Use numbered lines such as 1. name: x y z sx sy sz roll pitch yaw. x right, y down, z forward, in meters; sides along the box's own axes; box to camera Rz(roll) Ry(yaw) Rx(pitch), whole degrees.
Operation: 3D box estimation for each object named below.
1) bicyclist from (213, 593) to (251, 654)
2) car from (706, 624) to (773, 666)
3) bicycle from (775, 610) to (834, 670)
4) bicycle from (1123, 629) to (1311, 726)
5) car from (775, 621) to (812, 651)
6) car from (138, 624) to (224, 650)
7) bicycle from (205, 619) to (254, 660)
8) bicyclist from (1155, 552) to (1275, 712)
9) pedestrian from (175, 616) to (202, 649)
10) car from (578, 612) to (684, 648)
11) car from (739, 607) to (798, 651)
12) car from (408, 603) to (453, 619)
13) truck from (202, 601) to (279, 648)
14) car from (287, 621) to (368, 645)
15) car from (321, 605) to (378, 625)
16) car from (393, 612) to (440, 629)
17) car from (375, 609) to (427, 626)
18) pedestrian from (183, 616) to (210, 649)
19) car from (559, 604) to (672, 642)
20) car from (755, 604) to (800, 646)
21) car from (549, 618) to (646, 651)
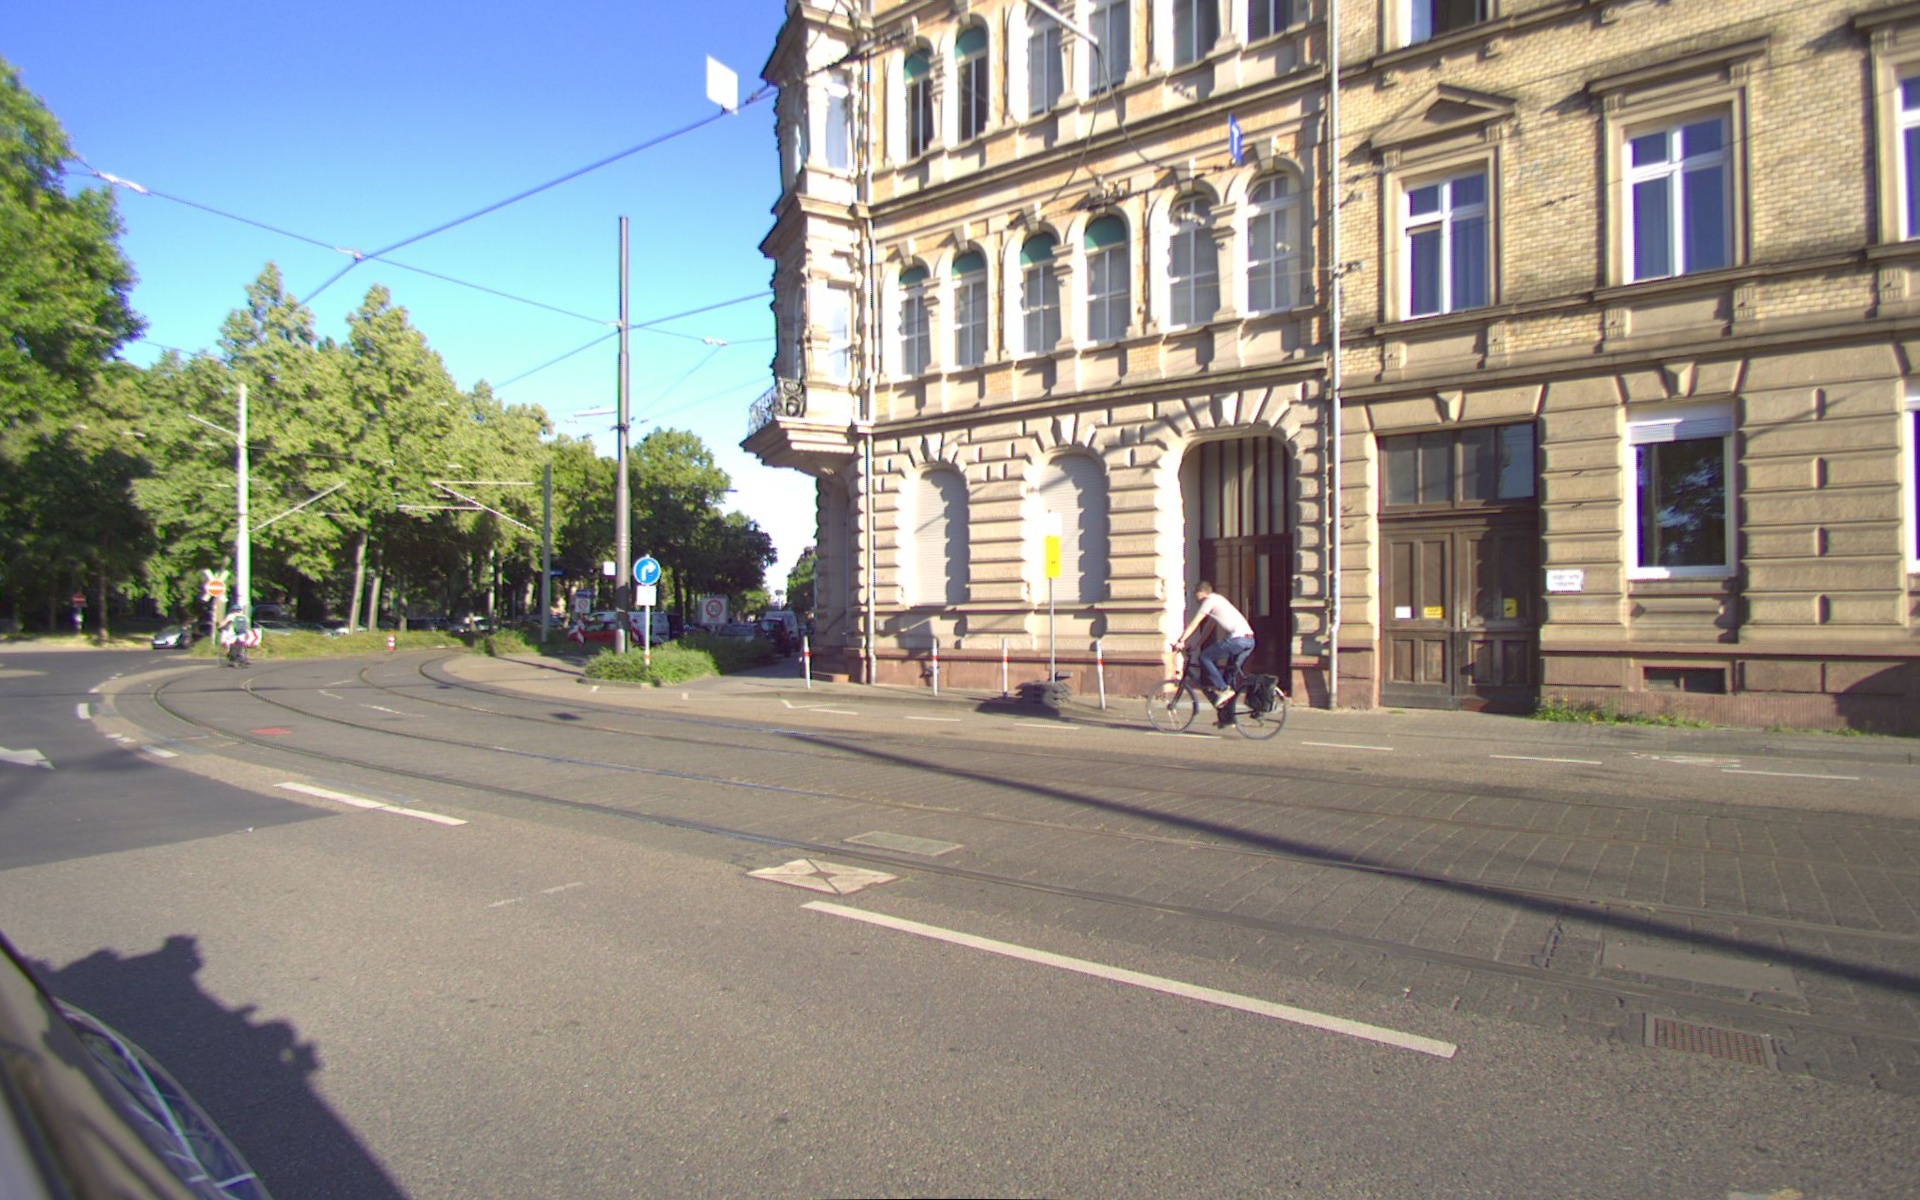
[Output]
1. bicyclist: -21.884 0.709 30.419 1.058 1.776 0.600 -1 -2 36
2. car: -7.671 1.545 35.528 1.713 1.425 3.435 0 -1 -2
3. bicycle: -3.520 0.895 23.106 0.637 1.276 2.682 0 -1 7
4. bicycle: 3.121 0.915 12.406 2.113 1.092 0.719 -2 -3 37
5. car: -9.847 2.097 60.161 1.969 1.718 4.270 0 -1 -7
6. car: -44.107 2.091 57.394 1.922 1.409 4.003 0 -1 -3
7. bicycle: -22.008 1.183 30.486 1.948 1.184 0.604 -1 -2 35
8. bicyclist: 3.121 0.394 12.418 1.210 1.854 0.721 -2 -3 37
9. pedestrian: -42.239 1.771 55.427 0.825 1.781 0.881 -1 -2 23
10. car: -17.255 1.579 53.159 5.005 1.822 1.993 0 -1 11
11. car: -7.569 1.139 40.344 1.713 1.674 4.001 0 -1 -2
12. car: -56.560 1.178 108.122 3.955 1.763 1.880 0 -1 9
13. truck: -44.617 1.512 62.923 1.968 2.804 4.894 0 -1 -10
14. car: -36.152 1.867 57.880 3.643 1.364 1.738 0 -1 6
15. car: -55.635 1.352 92.185 4.404 1.763 1.989 0 -2 17
16. car: -56.449 2.100 105.105 3.955 1.763 1.880 0 -1 9
17. car: -56.531 1.757 102.388 4.309 1.719 1.994 0 -1 10
18. pedestrian: -41.509 1.768 55.024 0.825 1.781 0.881 -1 -2 23
19. car: -17.022 1.145 50.049 5.005 1.802 1.993 0 -1 11
20. car: -9.152 1.267 51.001 1.969 2.029 4.642 0 -1 -7
21. car: -17.070 1.603 47.756 3.957 1.519 1.862 0 -1 11
